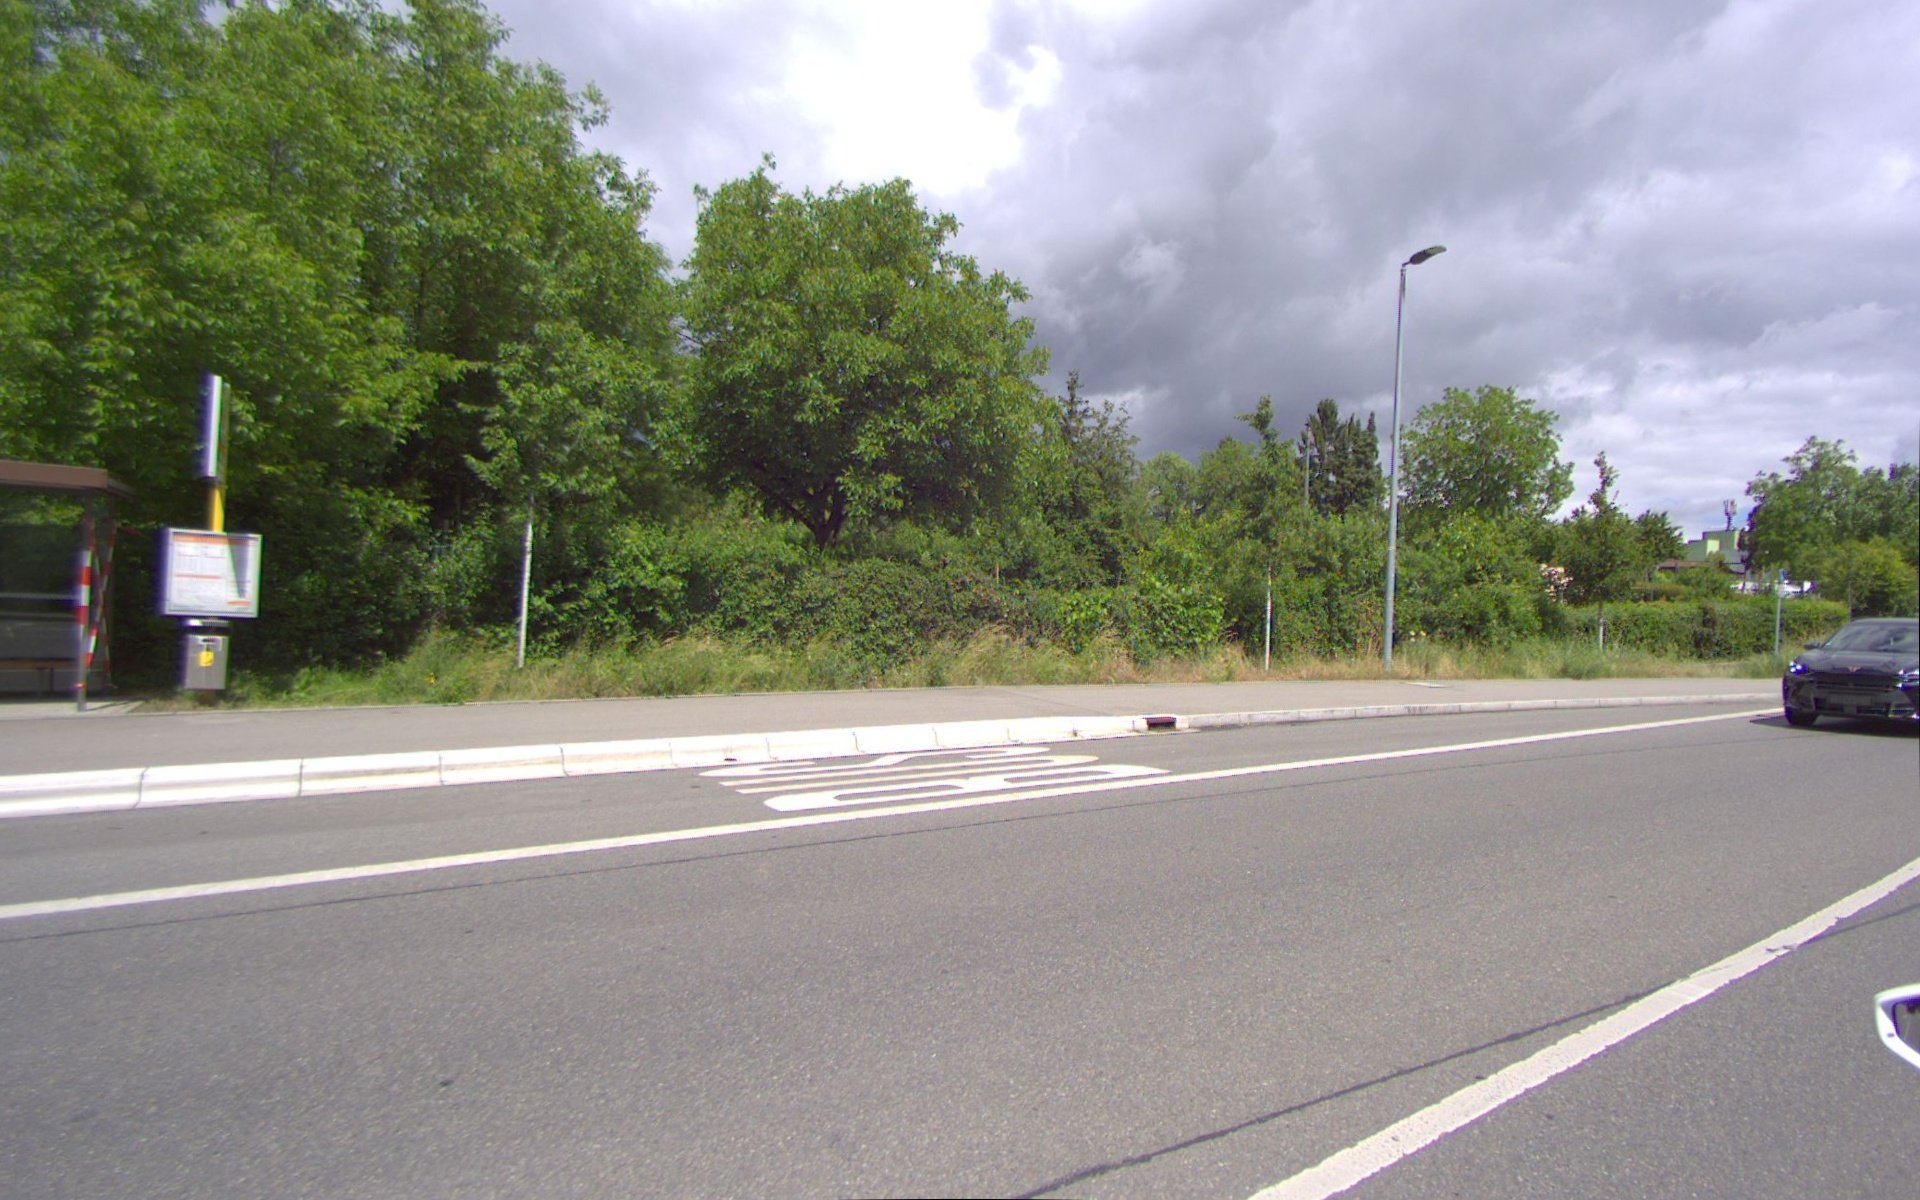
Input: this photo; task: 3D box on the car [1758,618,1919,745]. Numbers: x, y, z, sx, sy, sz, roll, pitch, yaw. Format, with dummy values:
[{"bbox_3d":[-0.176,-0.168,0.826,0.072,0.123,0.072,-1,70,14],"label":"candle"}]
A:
[{"bbox_3d":[13.514,1.076,14.583,4.582,1.578,1.811,1,-1,-35],"label":"car"}]
